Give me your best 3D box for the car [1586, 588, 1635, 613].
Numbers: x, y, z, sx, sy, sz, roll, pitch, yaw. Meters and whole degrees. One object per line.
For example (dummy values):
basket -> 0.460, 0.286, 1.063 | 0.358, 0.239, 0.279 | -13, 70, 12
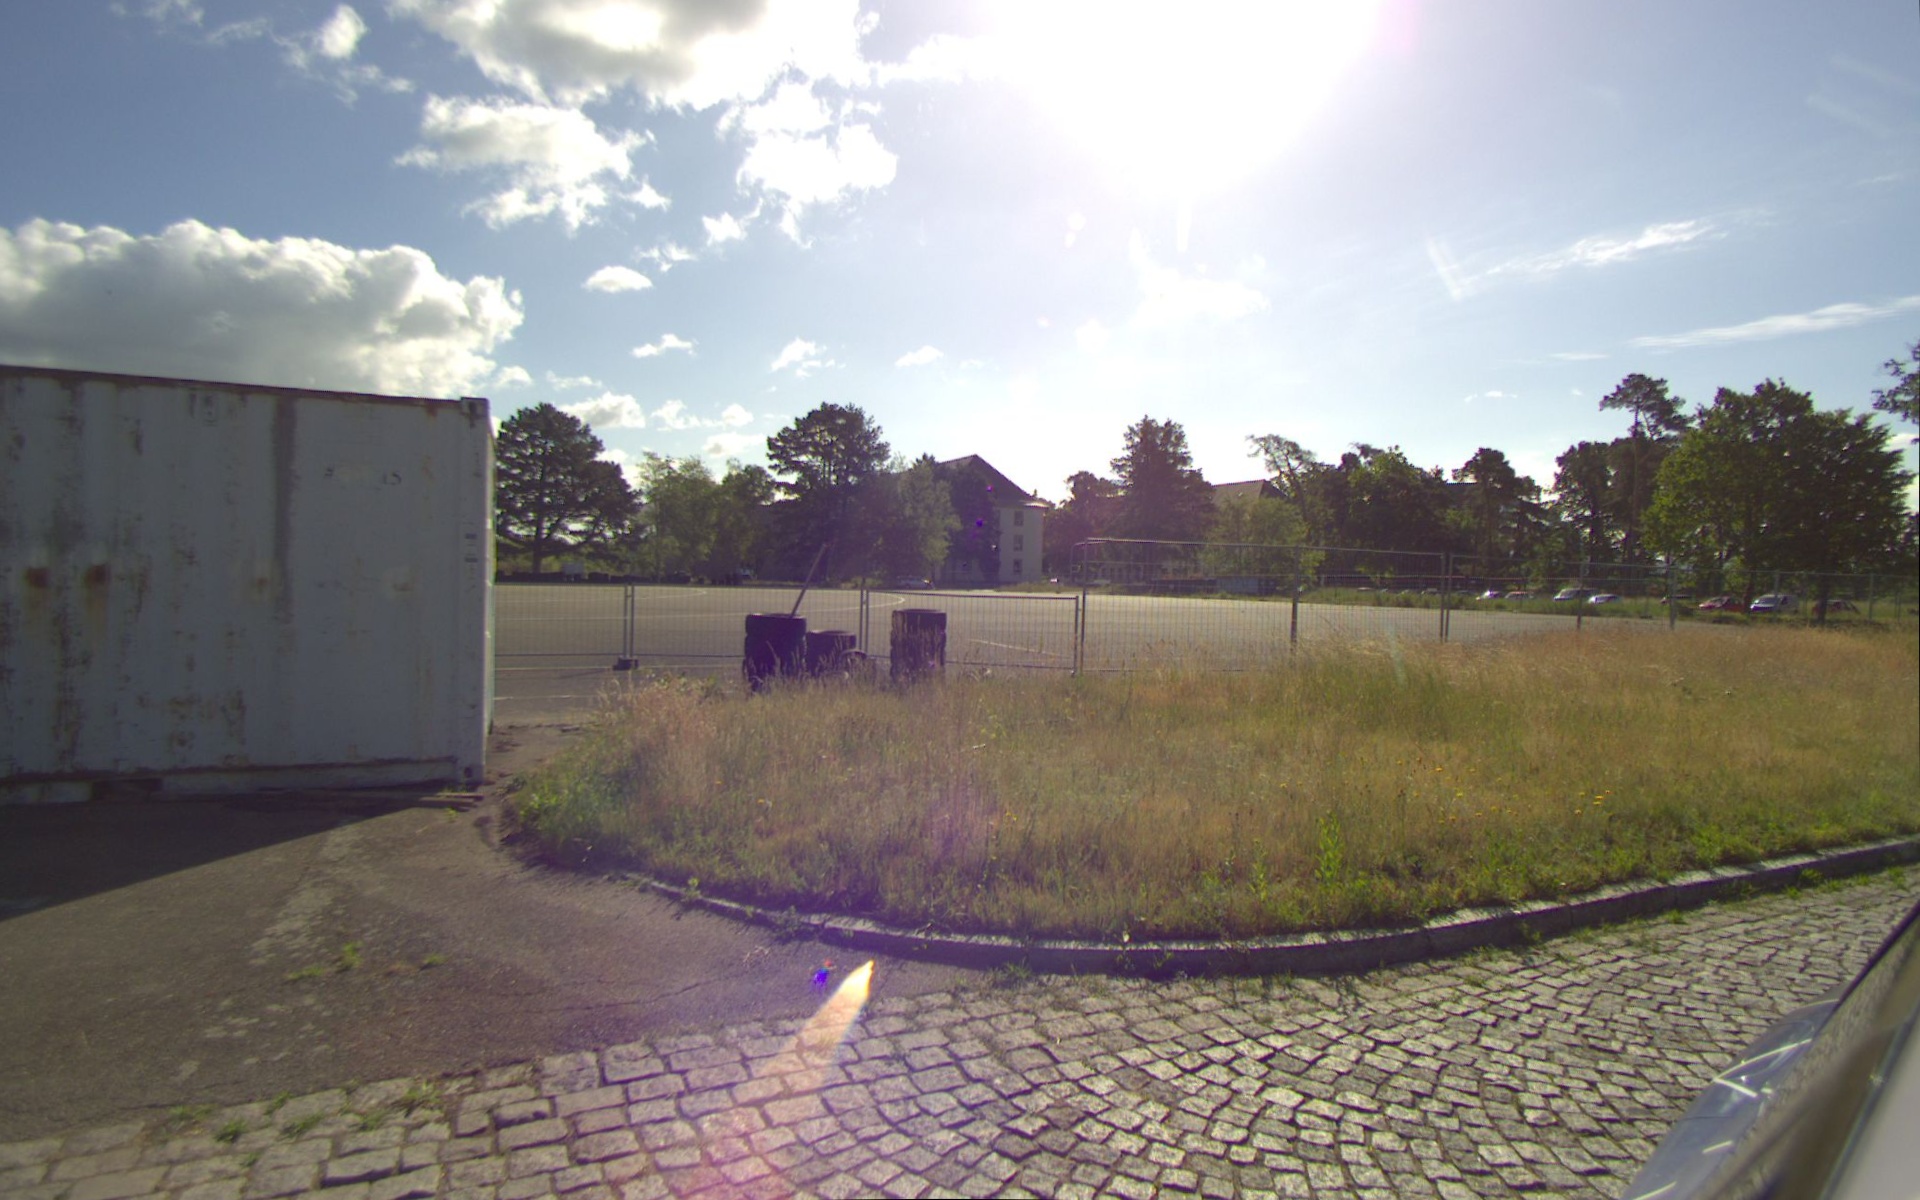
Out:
car -> 56.034, 0.052, 87.162 | 3.772, 2.038, 1.746 | 0, 1, -26

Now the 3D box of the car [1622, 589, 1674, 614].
car -> 58.237, 0.138, 85.672 | 3.918, 2.039, 2.003 | 1, 1, -27

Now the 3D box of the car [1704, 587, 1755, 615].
car -> 60.154, 0.075, 79.114 | 3.545, 2.038, 1.746 | 0, 1, -26

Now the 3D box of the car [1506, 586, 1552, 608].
car -> 53.053, -0.280, 94.368 | 3.771, 2.038, 1.746 | 1, 1, -23

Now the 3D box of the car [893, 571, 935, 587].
car -> -4.878, -2.262, 106.668 | 3.919, 1.602, 2.003 | 0, 2, -29

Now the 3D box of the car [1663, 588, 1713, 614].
car -> 58.686, 0.071, 81.531 | 3.545, 2.038, 1.746 | 0, 1, -26

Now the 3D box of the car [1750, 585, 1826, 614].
car -> 62.053, -0.086, 75.832 | 5.910, 2.039, 2.003 | -1, 0, -25

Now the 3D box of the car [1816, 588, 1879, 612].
car -> 63.374, 0.002, 72.261 | 3.917, 1.672, 2.004 | 0, 2, -26

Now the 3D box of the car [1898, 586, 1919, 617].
car -> 65.889, 0.100, 68.884 | 3.545, 2.038, 1.746 | 0, 1, -26

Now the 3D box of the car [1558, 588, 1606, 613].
car -> 54.888, 0.046, 89.346 | 3.771, 2.038, 1.746 | 1, 1, -23
